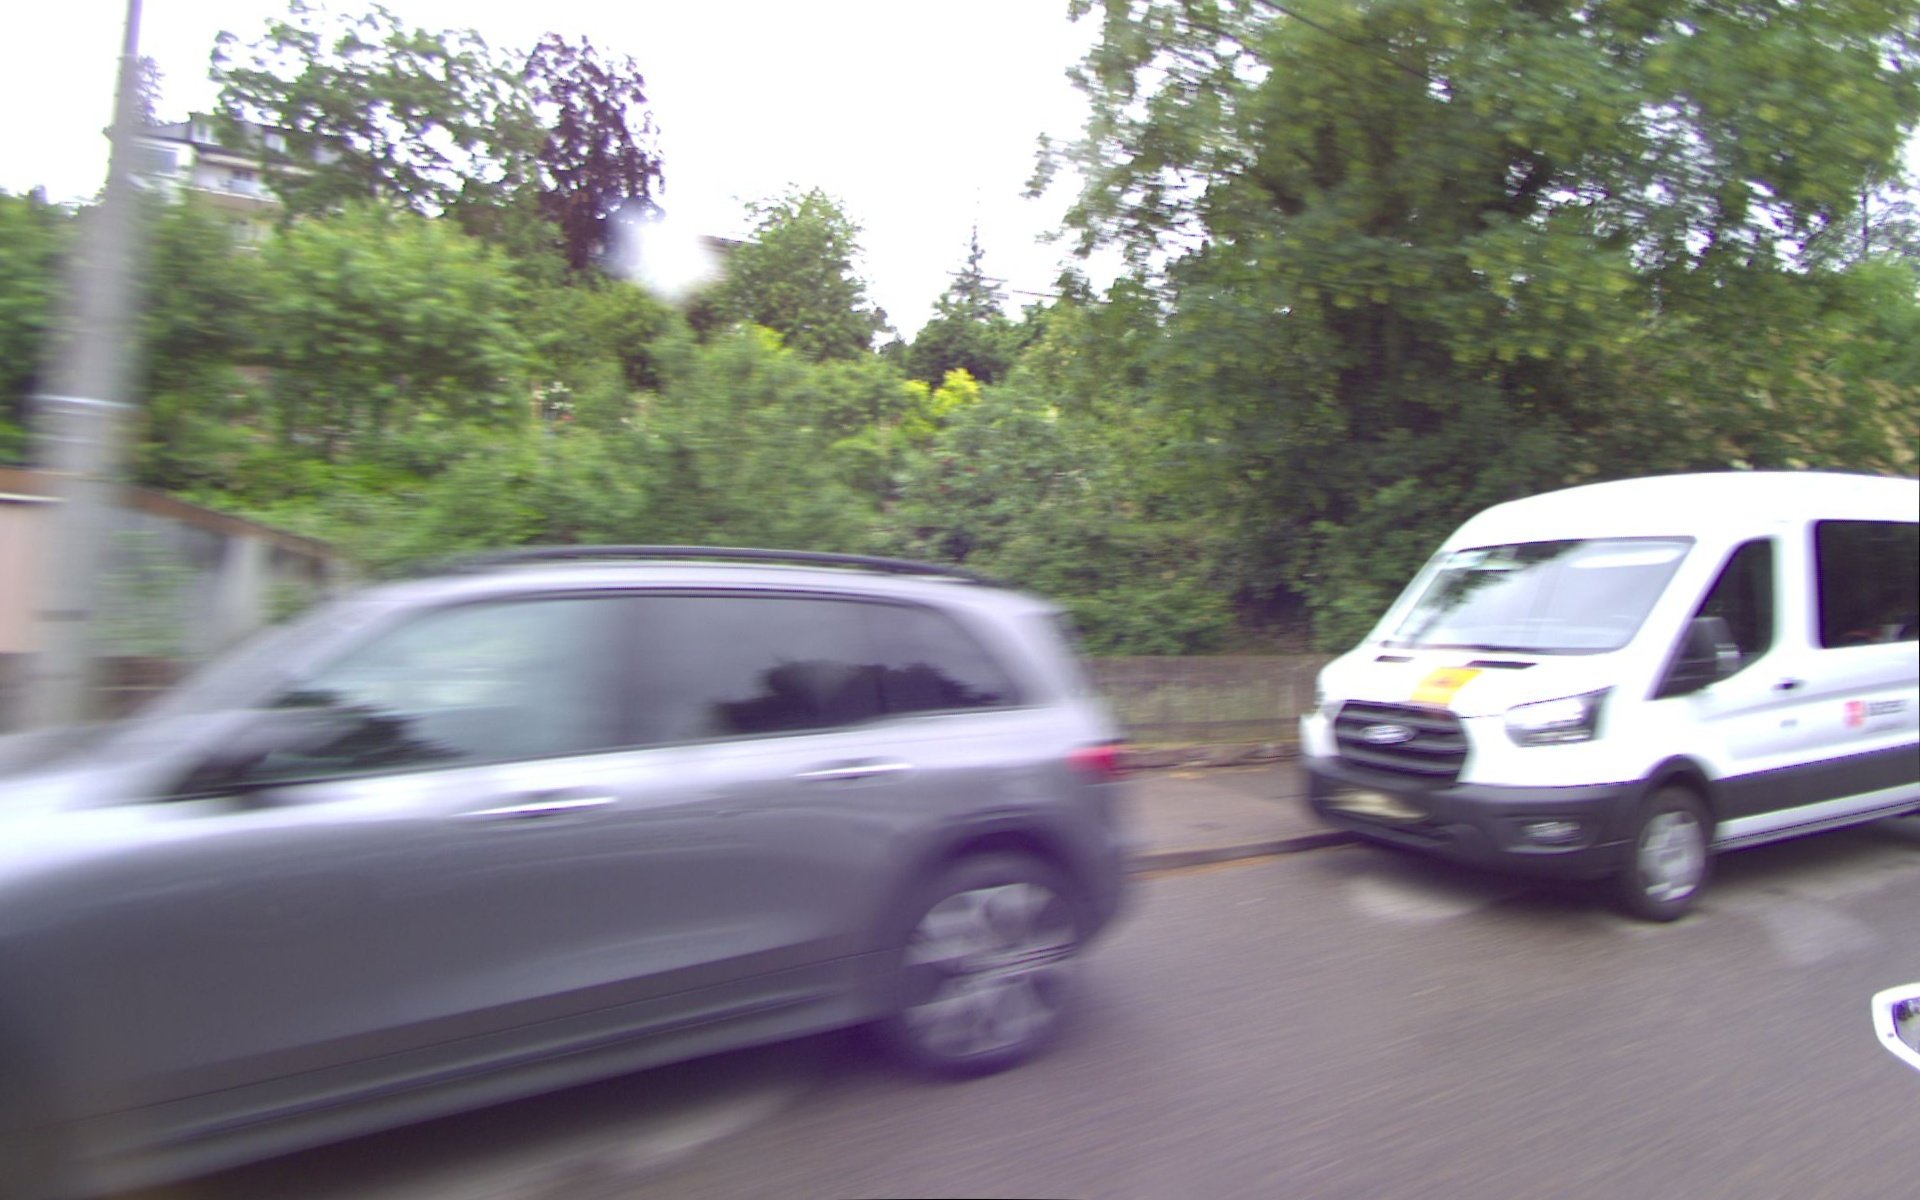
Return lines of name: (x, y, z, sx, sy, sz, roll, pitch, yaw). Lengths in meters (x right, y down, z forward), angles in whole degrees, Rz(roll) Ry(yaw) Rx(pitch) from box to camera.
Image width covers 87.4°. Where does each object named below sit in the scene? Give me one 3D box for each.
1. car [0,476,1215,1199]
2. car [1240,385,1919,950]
car: (-1.441, 0.664, 3.349, 4.495, 1.713, 1.886, 2, -2, -32)
car: (4.948, 0.367, 6.871, 6.016, 2.584, 2.087, 1, -1, -26)
